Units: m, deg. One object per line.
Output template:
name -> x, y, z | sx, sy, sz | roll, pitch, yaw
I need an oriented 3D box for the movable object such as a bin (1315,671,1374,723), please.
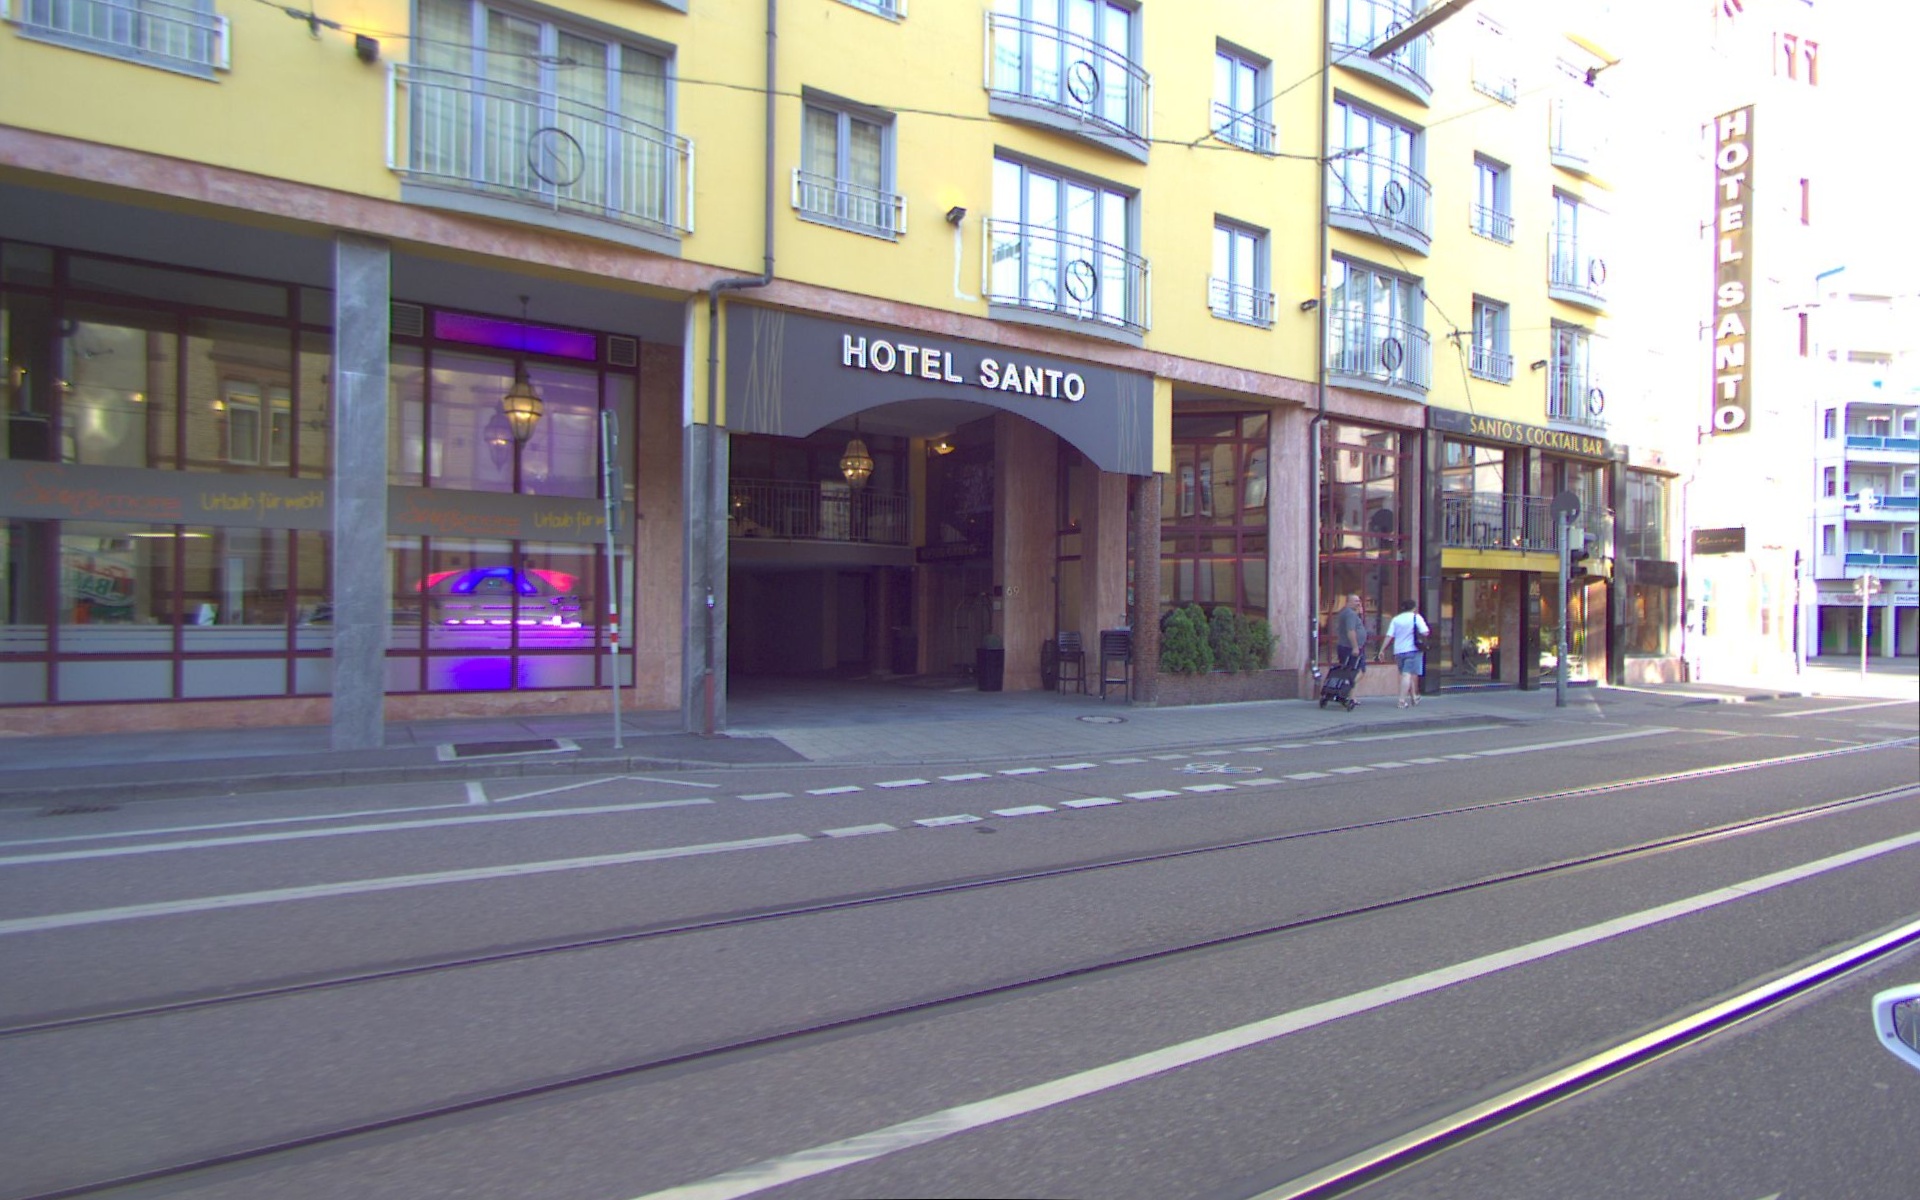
movable object such as a bin -> 5.941, 1.489, 15.523 | 0.831, 0.726, 0.381 | 0, 4, -30

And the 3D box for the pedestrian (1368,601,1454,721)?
pedestrian -> 7.387, 0.968, 16.461 | 1.034, 1.843, 0.747 | 0, 4, -32

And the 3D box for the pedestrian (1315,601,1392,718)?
pedestrian -> 6.354, 0.939, 16.242 | 0.741, 1.795, 0.793 | 0, 4, -31
